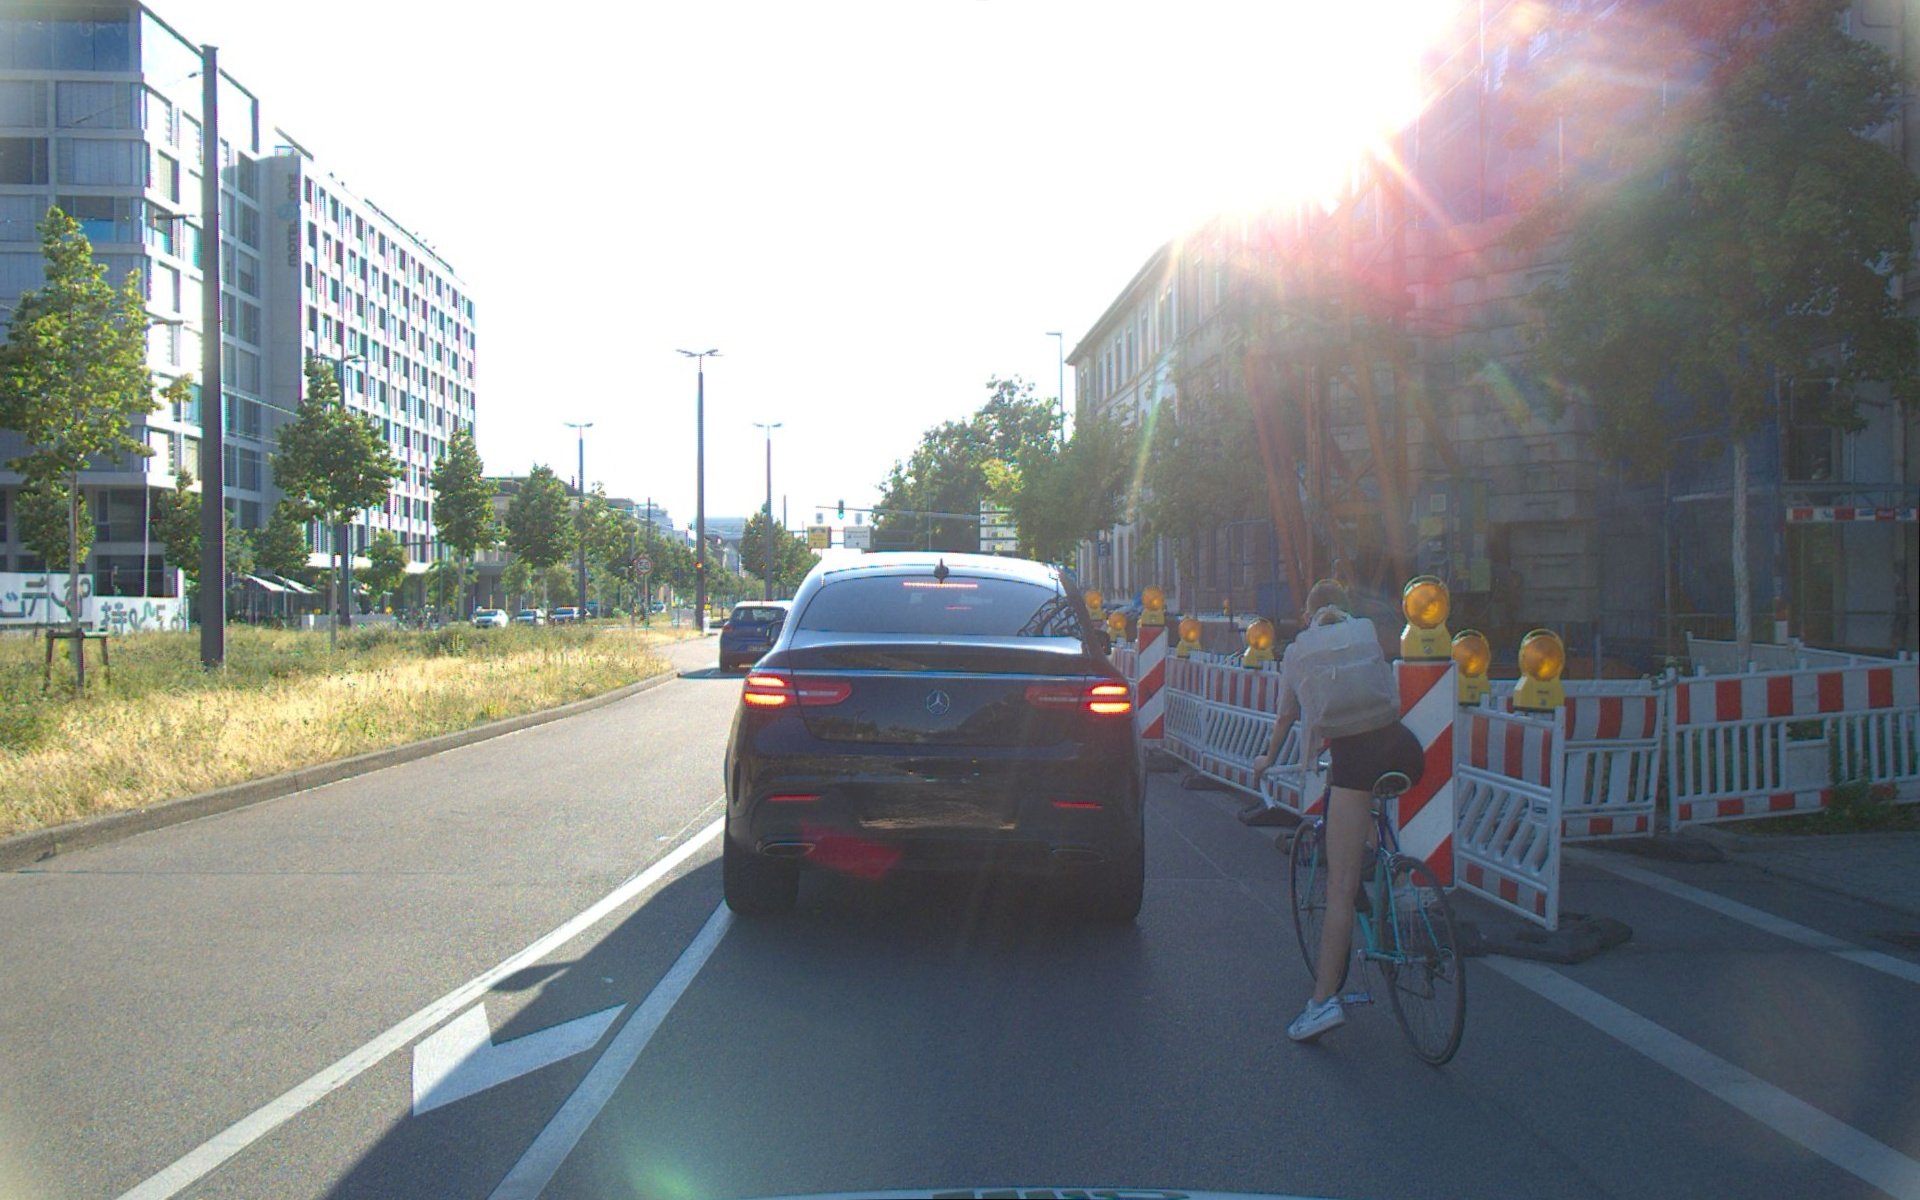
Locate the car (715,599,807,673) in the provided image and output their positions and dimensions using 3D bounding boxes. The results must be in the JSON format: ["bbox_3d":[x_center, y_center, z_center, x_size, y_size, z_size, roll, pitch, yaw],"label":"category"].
[{"bbox_3d":[-4.201,0.736,35.351,1.674,1.467,3.580,1,0,-3],"label":"car"}]

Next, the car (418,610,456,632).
[{"bbox_3d":[-36.973,1.493,117.000,1.674,1.467,3.580,1,0,-3],"label":"car"}]

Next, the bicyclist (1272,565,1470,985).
[{"bbox_3d":[1.456,0.597,5.928,0.512,1.420,0.614,1,-1,-4],"label":"bicyclist"}]

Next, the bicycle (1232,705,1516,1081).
[{"bbox_3d":[1.443,0.974,6.052,0.502,1.070,1.724,1,0,-3],"label":"bicycle"}]

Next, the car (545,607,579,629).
[{"bbox_3d":[-27.504,1.249,114.359,1.674,1.467,3.580,1,0,-3],"label":"car"}]

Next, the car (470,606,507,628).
[{"bbox_3d":[-32.791,1.164,115.068,1.674,1.467,3.580,1,0,-3],"label":"car"}]

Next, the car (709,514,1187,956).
[{"bbox_3d":[-0.073,0.569,8.854,1.953,1.803,3.999,1,0,-1],"label":"car"}]

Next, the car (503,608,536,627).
[{"bbox_3d":[-33.709,1.332,126.660,1.674,1.467,3.580,1,0,-3],"label":"car"}]

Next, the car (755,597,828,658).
[{"bbox_3d":[-4.320,0.686,42.775,1.674,1.467,3.580,1,0,-3],"label":"car"}]

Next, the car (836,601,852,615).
[{"bbox_3d":[-12.857,0.911,183.863,1.674,1.467,3.580,1,0,-3],"label":"car"}]
